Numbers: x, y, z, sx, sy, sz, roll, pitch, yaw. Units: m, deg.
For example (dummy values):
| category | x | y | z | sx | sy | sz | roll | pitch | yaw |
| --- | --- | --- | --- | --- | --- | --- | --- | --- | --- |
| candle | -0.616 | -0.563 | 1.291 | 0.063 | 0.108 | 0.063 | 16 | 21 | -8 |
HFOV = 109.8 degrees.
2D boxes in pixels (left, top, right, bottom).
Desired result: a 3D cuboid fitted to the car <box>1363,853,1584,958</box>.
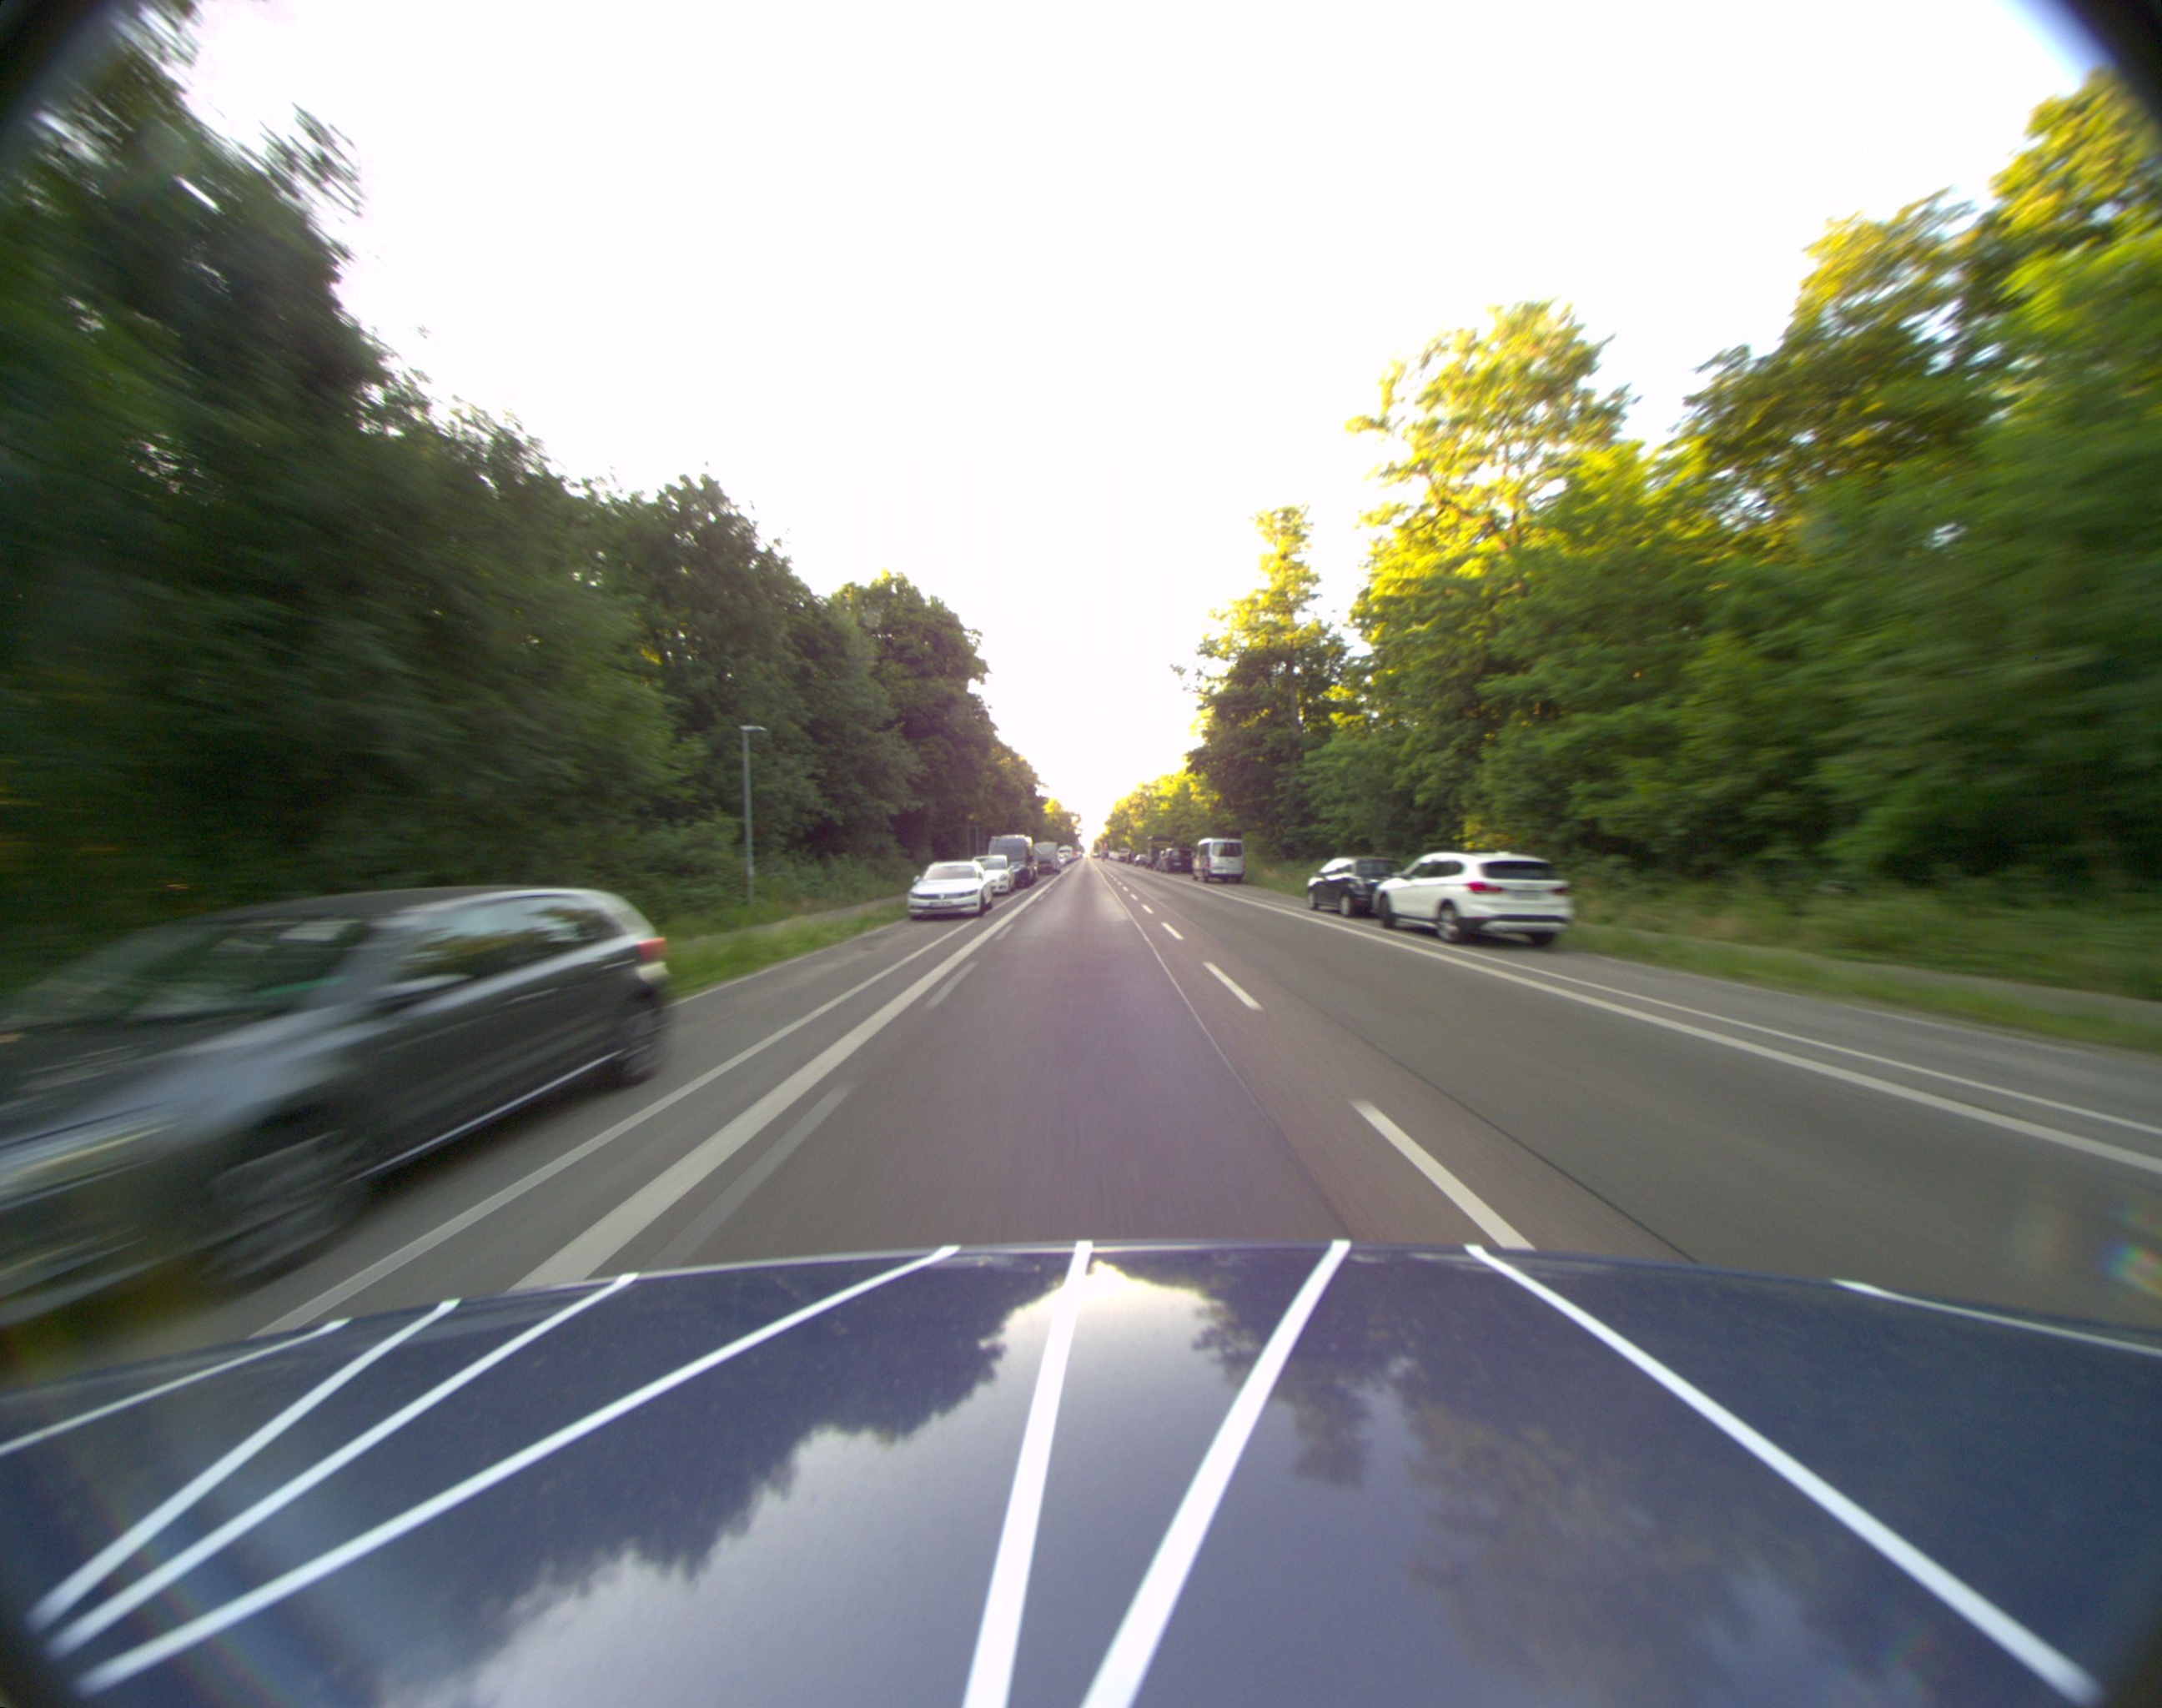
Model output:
| category | x | y | z | sx | sy | sz | roll | pitch | yaw |
| --- | --- | --- | --- | --- | --- | --- | --- | --- | --- |
| car | 7.059 | 0.810 | 14.296 | 1.699 | 1.636 | 4.572 | 1 | 0 | -1 |

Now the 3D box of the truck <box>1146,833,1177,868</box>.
| category | x | y | z | sx | sy | sz | roll | pitch | yaw |
| --- | --- | --- | --- | --- | --- | --- | --- | --- | --- |
| truck | 7.886 | -0.363 | 74.781 | 2.226 | 3.189 | 6.270 | 2 | 0 | -1 |

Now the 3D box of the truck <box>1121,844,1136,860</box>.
| category | x | y | z | sx | sy | sz | roll | pitch | yaw |
| --- | --- | --- | --- | --- | --- | --- | --- | --- | --- |
| truck | 9.127 | -0.394 | 146.395 | 2.654 | 3.039 | 5.800 | -2 | 1 | 1 |

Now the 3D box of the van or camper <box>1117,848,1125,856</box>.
| category | x | y | z | sx | sy | sz | roll | pitch | yaw |
| --- | --- | --- | --- | --- | --- | --- | --- | --- | --- |
| van or camper | 9.699 | -0.412 | 184.667 | 1.844 | 1.965 | 4.196 | -1 | 0 | 1 |

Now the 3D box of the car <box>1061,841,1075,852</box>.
| category | x | y | z | sx | sy | sz | roll | pitch | yaw |
| --- | --- | --- | --- | --- | --- | --- | --- | --- | --- |
| car | -2.634 | -1.504 | 155.096 | 2.537 | 2.270 | 5.554 | 0 | 0 | 1 |

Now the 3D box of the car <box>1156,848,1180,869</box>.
| category | x | y | z | sx | sy | sz | roll | pitch | yaw |
| --- | --- | --- | --- | --- | --- | --- | --- | --- | --- |
| car | 7.716 | 0.384 | 67.636 | 1.607 | 1.816 | 3.758 | 2 | 0 | -2 |

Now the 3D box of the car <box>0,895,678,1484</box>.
| category | x | y | z | sx | sy | sz | roll | pitch | yaw |
| --- | --- | --- | --- | --- | --- | --- | --- | --- | --- |
| car | -3.849 | 1.051 | 3.766 | 1.583 | 1.438 | 3.960 | -1 | 0 | 0 |

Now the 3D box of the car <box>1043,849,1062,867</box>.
| category | x | y | z | sx | sy | sz | roll | pitch | yaw |
| --- | --- | --- | --- | --- | --- | --- | --- | --- | --- |
| car | -3.262 | 0.431 | 87.104 | 1.976 | 1.908 | 4.196 | -1 | 0 | 1 |

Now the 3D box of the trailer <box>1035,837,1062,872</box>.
| category | x | y | z | sx | sy | sz | roll | pitch | yaw |
| --- | --- | --- | --- | --- | --- | --- | --- | --- | --- |
| trailer | -2.588 | 0.037 | 61.144 | 1.866 | 2.633 | 4.269 | -2 | 1 | 1 |

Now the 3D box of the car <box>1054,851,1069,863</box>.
| category | x | y | z | sx | sy | sz | roll | pitch | yaw |
| --- | --- | --- | --- | --- | --- | --- | --- | --- | --- |
| car | -2.669 | 0.456 | 104.222 | 1.844 | 1.585 | 4.196 | -1 | 0 | 1 |

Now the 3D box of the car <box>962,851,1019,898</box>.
| category | x | y | z | sx | sy | sz | roll | pitch | yaw |
| --- | --- | --- | --- | --- | --- | --- | --- | --- | --- |
| car | -3.674 | 0.785 | 31.683 | 1.856 | 1.754 | 4.723 | -2 | 0 | -2 |

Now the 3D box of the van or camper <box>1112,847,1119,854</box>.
| category | x | y | z | sx | sy | sz | roll | pitch | yaw |
| --- | --- | --- | --- | --- | --- | --- | --- | --- | --- |
| van or camper | 10.045 | -1.052 | 223.331 | 1.844 | 2.264 | 4.196 | -1 | 0 | 1 |

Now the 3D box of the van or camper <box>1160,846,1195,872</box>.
| category | x | y | z | sx | sy | sz | roll | pitch | yaw |
| --- | --- | --- | --- | --- | --- | --- | --- | --- | --- |
| van or camper | 7.770 | 0.411 | 61.456 | 2.034 | 1.945 | 4.691 | 2 | 0 | -2 |

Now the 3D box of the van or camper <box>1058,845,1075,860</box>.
| category | x | y | z | sx | sy | sz | roll | pitch | yaw |
| --- | --- | --- | --- | --- | --- | --- | --- | --- | --- |
| van or camper | -2.664 | -0.333 | 145.408 | 3.015 | 2.704 | 6.960 | -1 | 0 | 1 |

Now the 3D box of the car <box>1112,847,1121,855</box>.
| category | x | y | z | sx | sy | sz | roll | pitch | yaw |
| --- | --- | --- | --- | --- | --- | --- | --- | --- | --- |
| car | 9.186 | -0.723 | 197.550 | 1.998 | 1.893 | 4.000 | -2 | 1 | 1 |

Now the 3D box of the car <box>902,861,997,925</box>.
| category | x | y | z | sx | sy | sz | roll | pitch | yaw |
| --- | --- | --- | --- | --- | --- | --- | --- | --- | --- |
| car | -3.465 | 0.961 | 20.886 | 1.848 | 1.485 | 4.758 | -2 | 0 | -1 |

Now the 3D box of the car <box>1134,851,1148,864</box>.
| category | x | y | z | sx | sy | sz | roll | pitch | yaw |
| --- | --- | --- | --- | --- | --- | --- | --- | --- | --- |
| car | 7.497 | 0.420 | 94.787 | 1.606 | 1.495 | 3.760 | 2 | 0 | 3 |

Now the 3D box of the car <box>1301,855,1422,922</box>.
| category | x | y | z | sx | sy | sz | roll | pitch | yaw |
| --- | --- | --- | --- | --- | --- | --- | --- | --- | --- |
| car | 7.132 | 0.817 | 19.699 | 1.676 | 1.511 | 3.735 | 1 | 0 | -1 |

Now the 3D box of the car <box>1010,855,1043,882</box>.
| category | x | y | z | sx | sy | sz | roll | pitch | yaw |
| --- | --- | --- | --- | --- | --- | --- | --- | --- | --- |
| car | -3.234 | 0.843 | 45.868 | 1.607 | 1.468 | 4.533 | -3 | 0 | -1 |

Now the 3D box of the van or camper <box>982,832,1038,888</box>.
| category | x | y | z | sx | sy | sz | roll | pitch | yaw |
| --- | --- | --- | --- | --- | --- | --- | --- | --- | --- |
| van or camper | -3.468 | 0.277 | 38.101 | 2.132 | 2.526 | 6.060 | -2 | 0 | 0 |

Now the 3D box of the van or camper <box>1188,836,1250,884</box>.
| category | x | y | z | sx | sy | sz | roll | pitch | yaw |
| --- | --- | --- | --- | --- | --- | --- | --- | --- | --- |
| van or camper | 7.495 | 0.285 | 42.005 | 2.116 | 2.376 | 6.380 | 2 | 0 | -1 |

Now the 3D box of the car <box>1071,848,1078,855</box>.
| category | x | y | z | sx | sy | sz | roll | pitch | yaw |
| --- | --- | --- | --- | --- | --- | --- | --- | --- | --- |
| car | -1.732 | -0.665 | 202.731 | 1.844 | 2.007 | 4.196 | -1 | 0 | 1 |

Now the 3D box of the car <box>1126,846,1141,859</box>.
| category | x | y | z | sx | sy | sz | roll | pitch | yaw |
| --- | --- | --- | --- | --- | --- | --- | --- | --- | --- |
| car | 8.072 | -0.191 | 116.542 | 1.852 | 1.948 | 3.934 | 2 | 0 | -1 |
